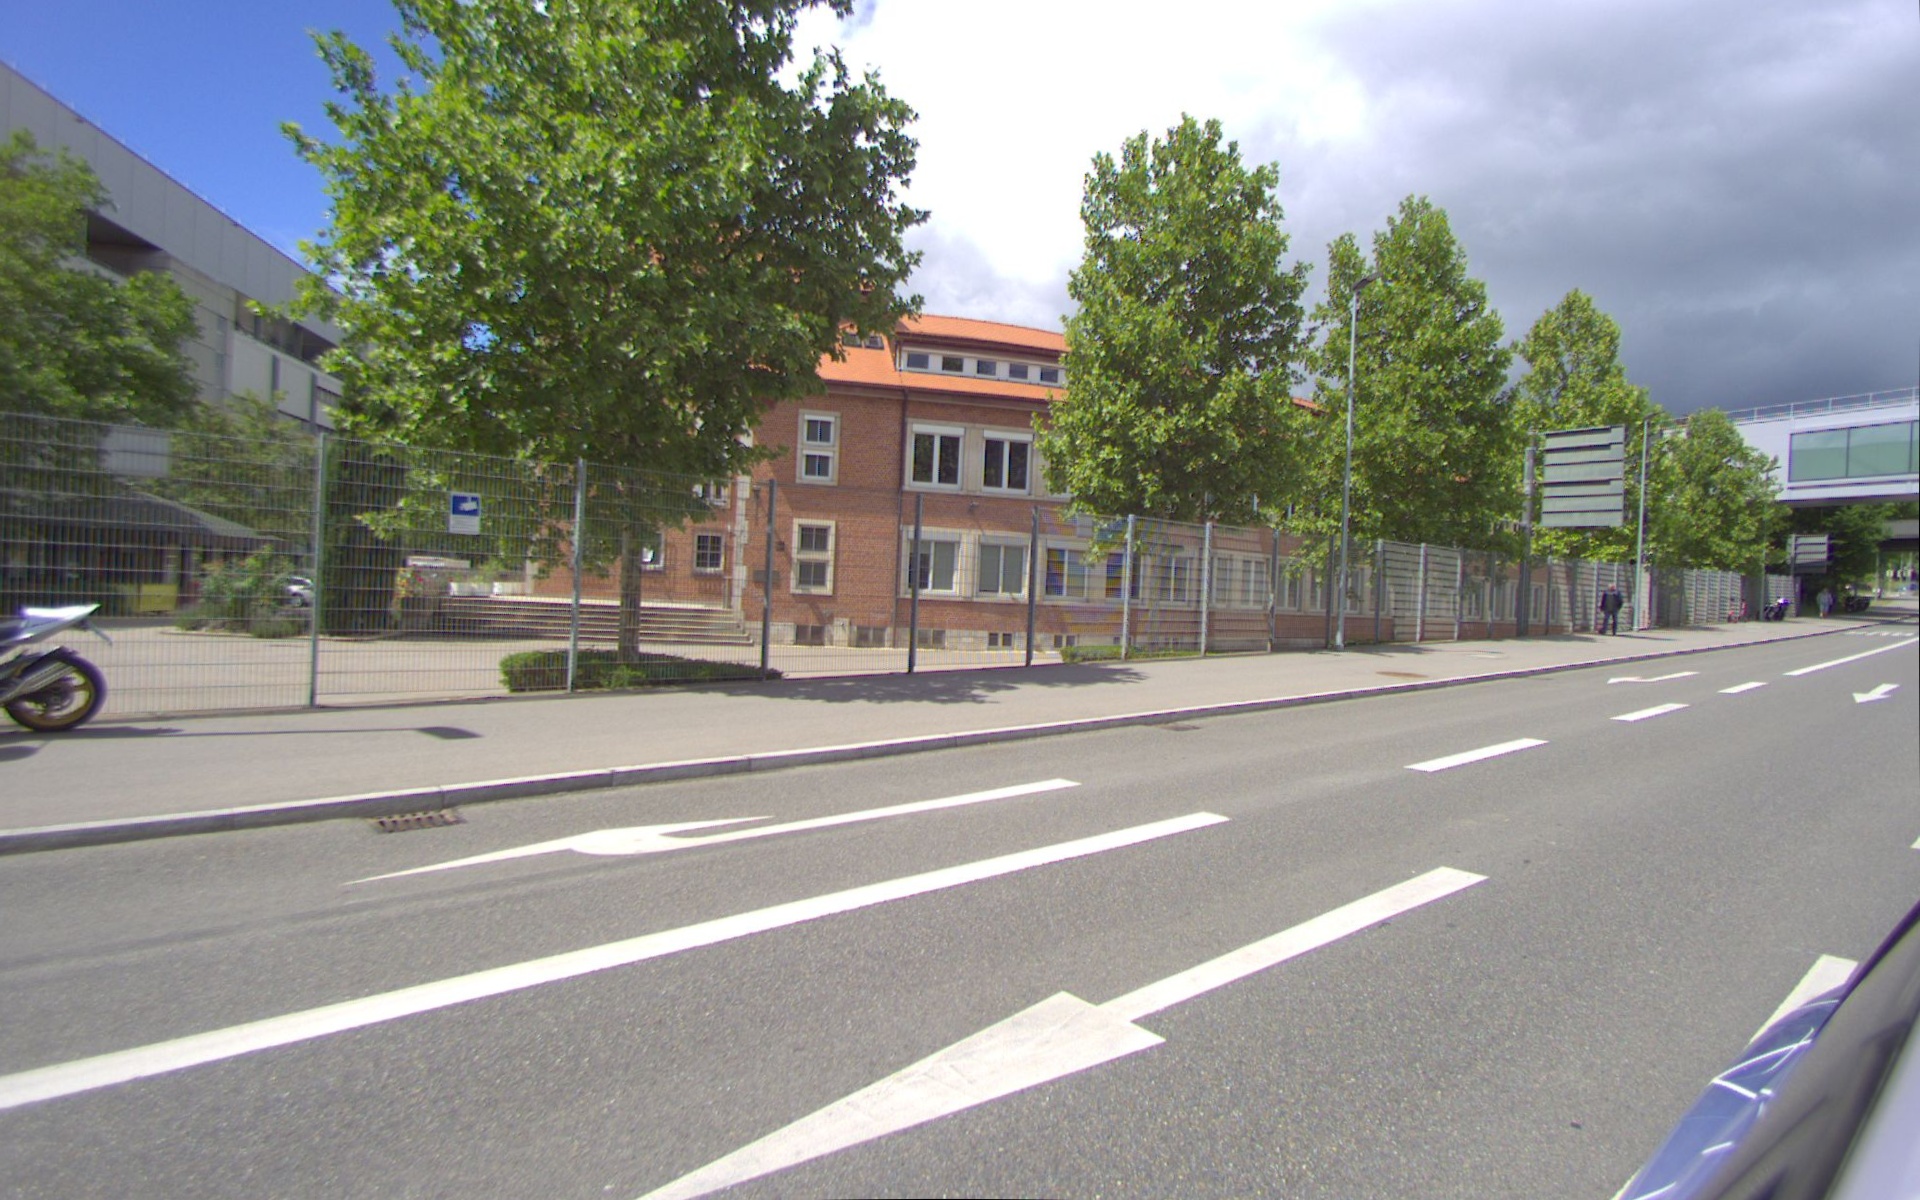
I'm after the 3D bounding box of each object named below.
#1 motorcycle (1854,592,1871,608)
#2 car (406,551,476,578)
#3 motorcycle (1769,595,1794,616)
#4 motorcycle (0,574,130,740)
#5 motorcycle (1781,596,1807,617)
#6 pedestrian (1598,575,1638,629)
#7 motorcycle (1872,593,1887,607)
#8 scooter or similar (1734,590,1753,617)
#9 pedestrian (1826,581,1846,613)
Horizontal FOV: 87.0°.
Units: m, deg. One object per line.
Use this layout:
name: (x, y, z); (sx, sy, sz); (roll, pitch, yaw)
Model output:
motorcycle: (68.327, -0.041, 76.612); (2.076, 1.168, 0.679); (0, 2, -41)
car: (-35.917, -2.464, 70.143); (3.916, 1.805, 2.004); (-1, 1, -13)
motorcycle: (44.502, 0.301, 54.809); (2.209, 1.077, 0.669); (0, 4, -43)
motorcycle: (-7.399, 0.408, 7.307); (0.693, 1.172, 2.113); (4, 3, 44)
motorcycle: (46.829, 0.353, 56.820); (2.467, 1.077, 0.709); (0, 4, -43)
pedestrian: (22.638, 0.058, 34.819); (0.924, 1.764, 0.879); (0, 3, -42)
motorcycle: (72.712, 0.013, 80.016); (2.144, 1.096, 0.679); (0, 2, -43)
scooter or similar: (38.993, 0.166, 50.370); (1.314, 1.310, 0.492); (0, 3, -42)
pedestrian: (54.629, -0.191, 63.112); (1.078, 1.911, 0.790); (0, 2, -43)
